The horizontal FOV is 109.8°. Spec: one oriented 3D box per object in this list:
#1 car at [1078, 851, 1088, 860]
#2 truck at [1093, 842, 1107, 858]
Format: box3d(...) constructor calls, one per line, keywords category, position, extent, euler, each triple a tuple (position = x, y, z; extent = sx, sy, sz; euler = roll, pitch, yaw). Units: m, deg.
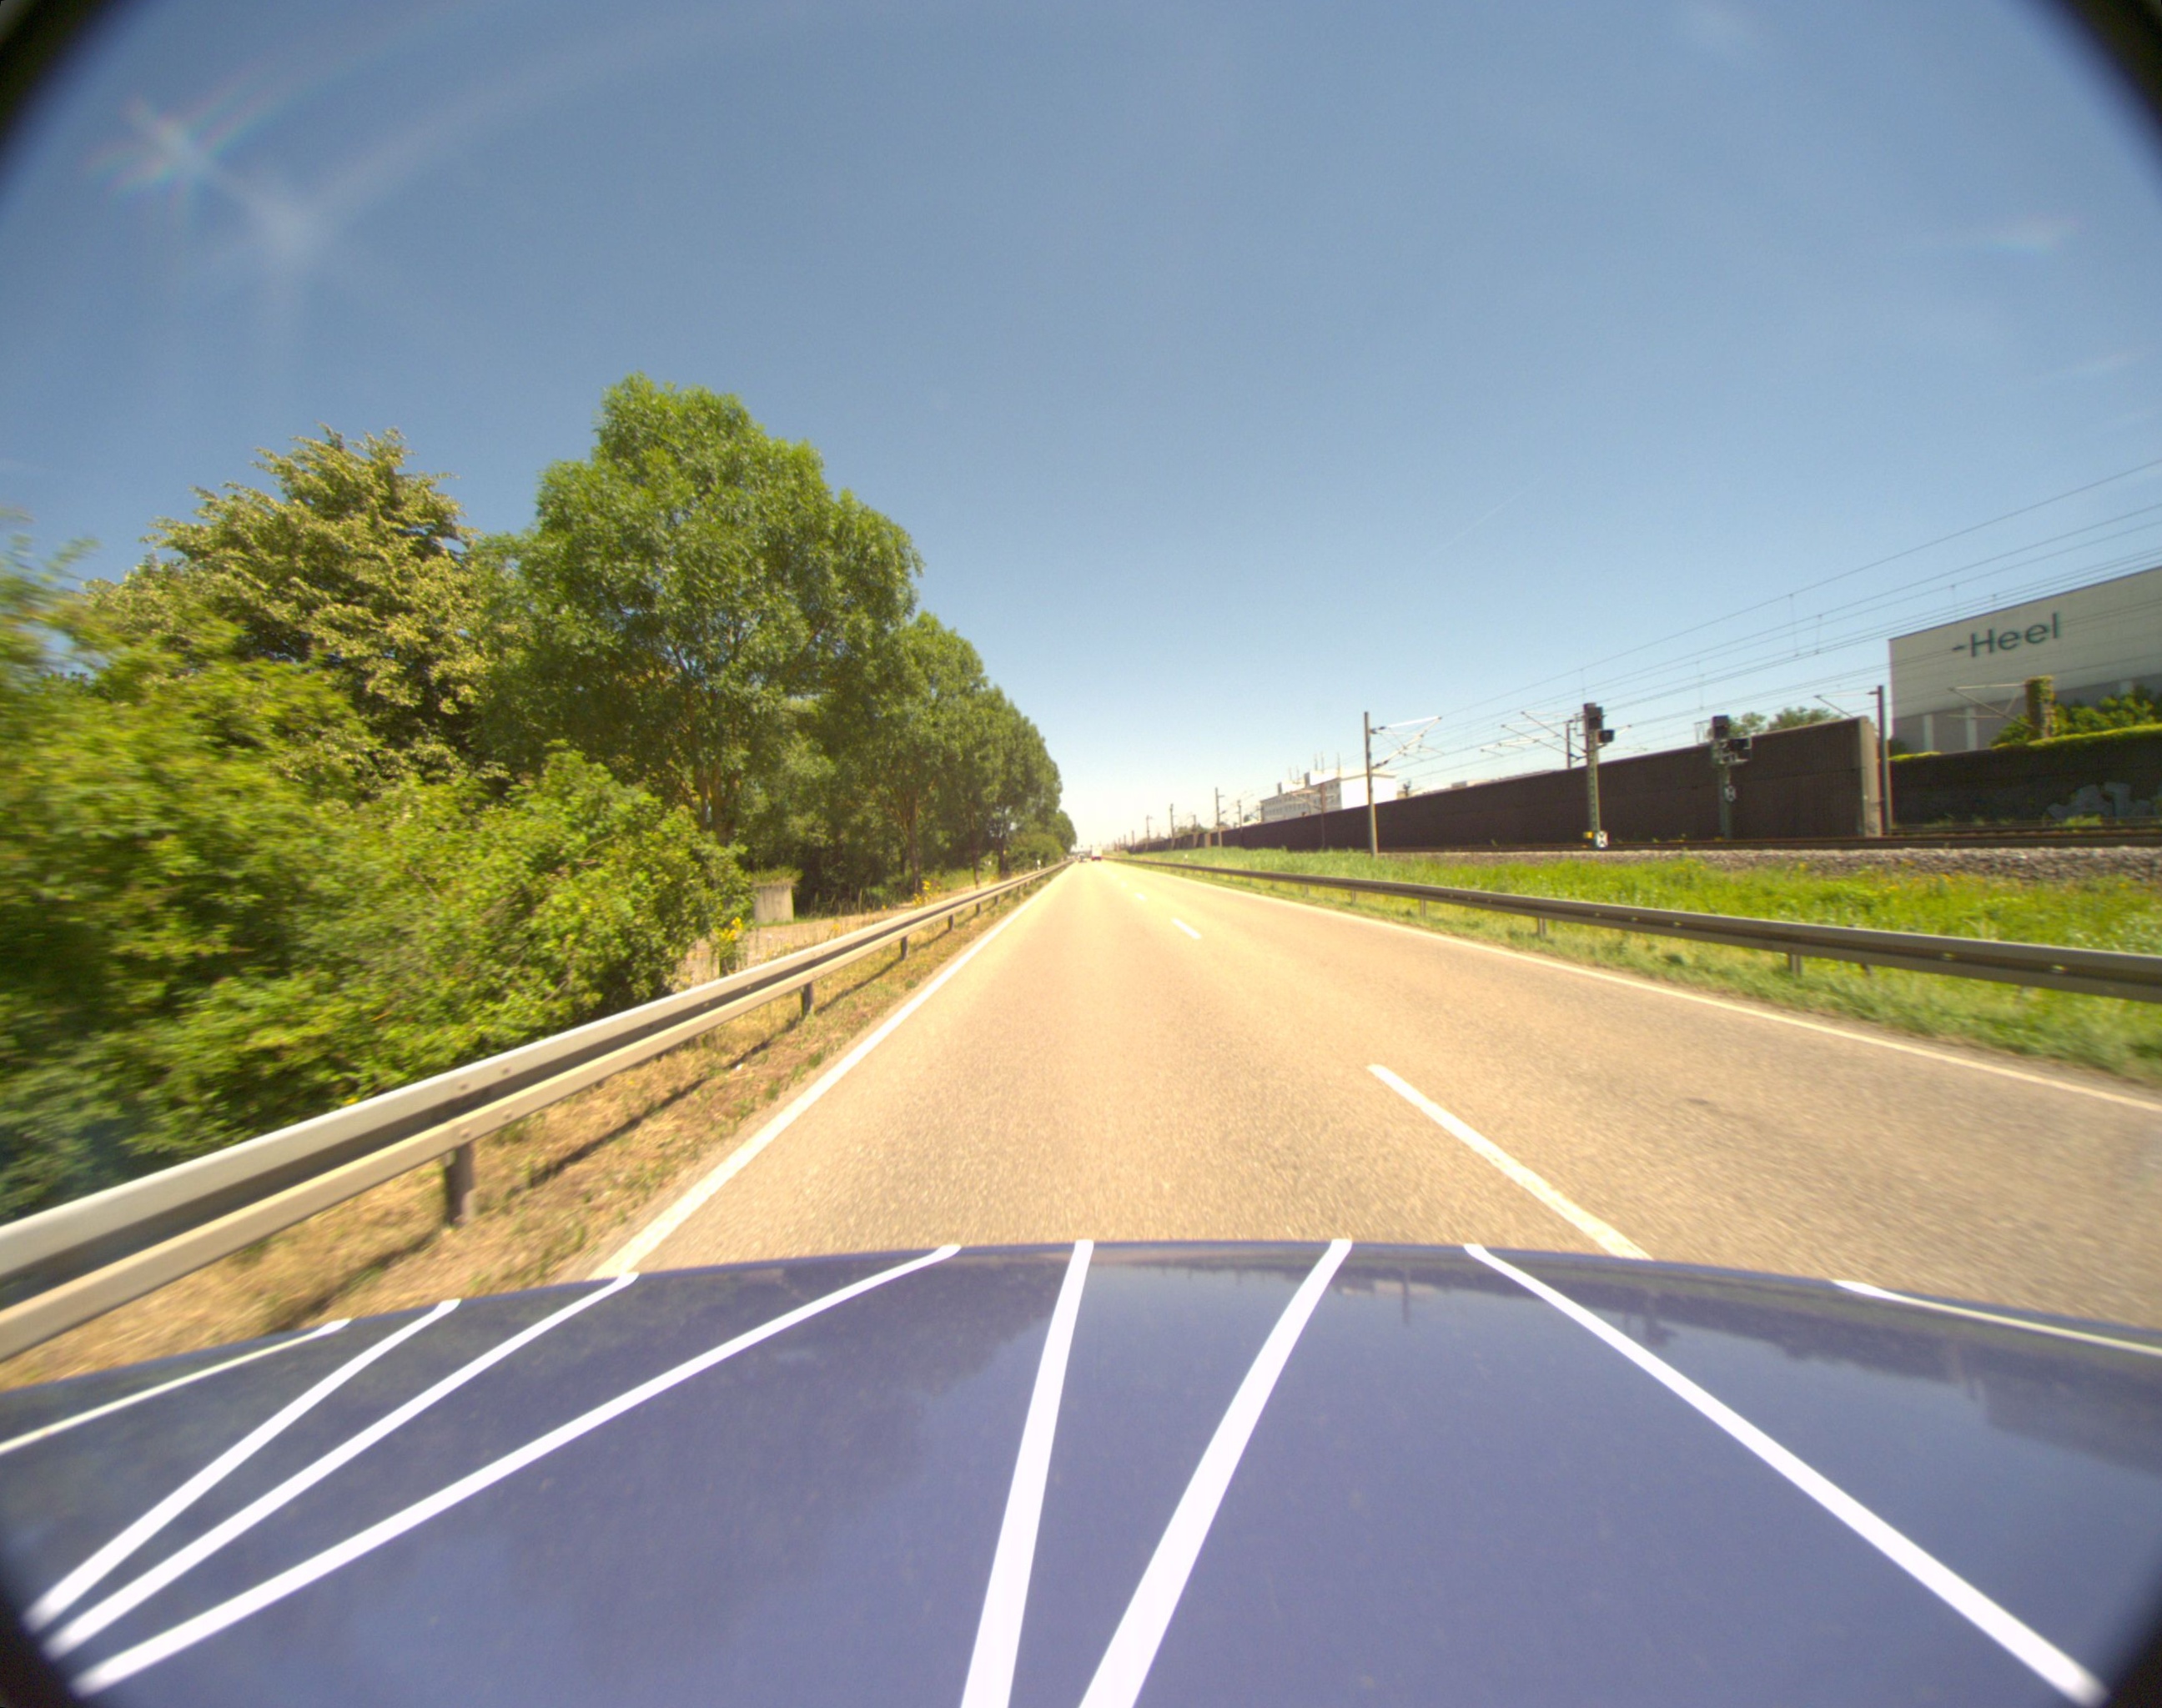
box3d(category="car", position=(0.369, 0.338, 168.234), extent=(1.999, 2.002, 3.999), euler=(-2, 0, -1))
box3d(category="truck", position=(4.921, -1.120, 202.693), extent=(2.805, 3.954, 10.497), euler=(-3, 0, -3))
